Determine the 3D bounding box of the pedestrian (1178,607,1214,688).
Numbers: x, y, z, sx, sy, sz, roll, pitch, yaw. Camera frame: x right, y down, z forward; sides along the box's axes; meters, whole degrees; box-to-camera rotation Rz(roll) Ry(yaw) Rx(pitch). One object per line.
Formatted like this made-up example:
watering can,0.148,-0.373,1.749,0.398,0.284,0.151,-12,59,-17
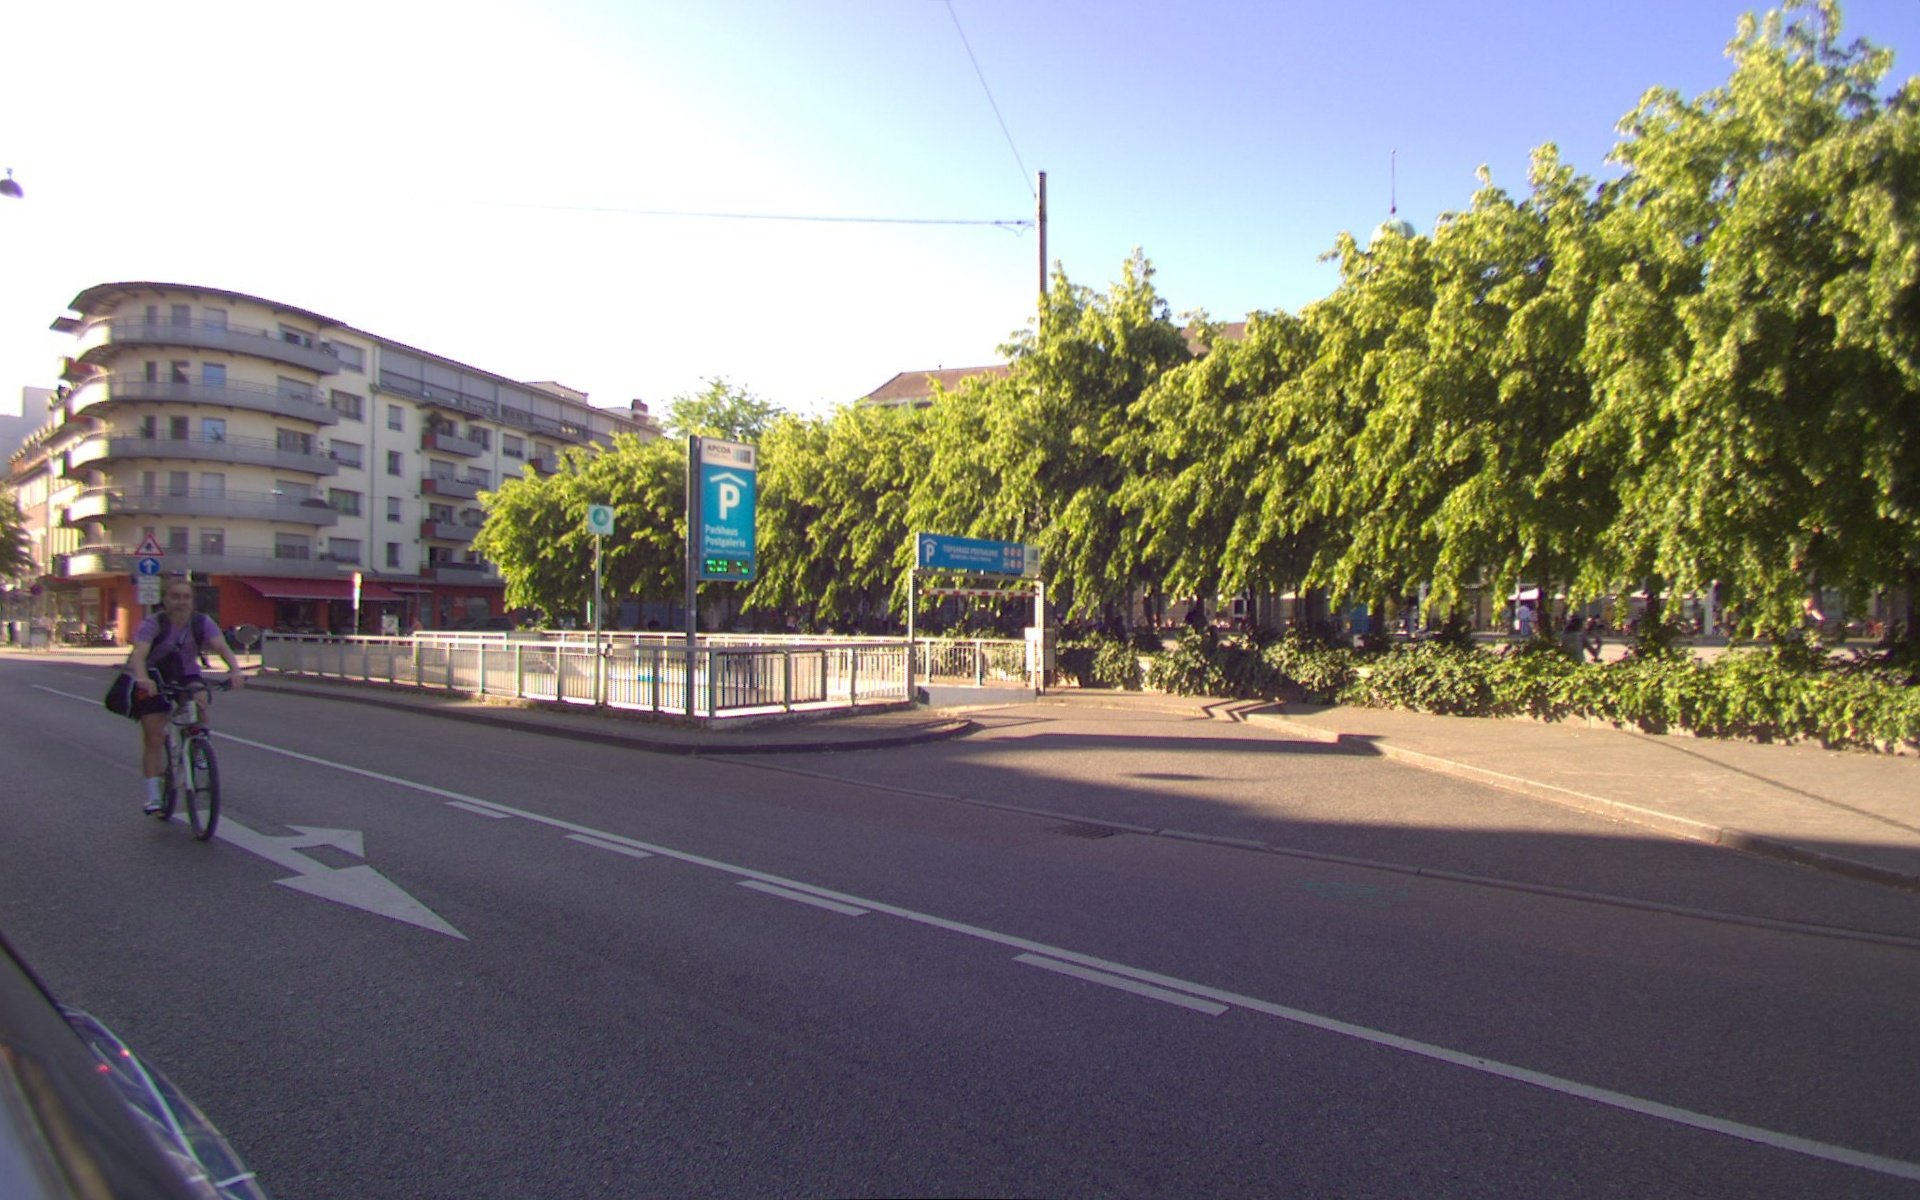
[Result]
pedestrian,5.560,1.102,23.794,0.674,1.870,0.577,-1,-1,30

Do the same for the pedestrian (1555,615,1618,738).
pedestrian,9.872,1.180,15.953,0.732,1.870,0.574,-1,-1,44

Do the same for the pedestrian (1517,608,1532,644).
pedestrian,28.520,1.323,51.146,0.598,1.806,0.577,-1,-1,27

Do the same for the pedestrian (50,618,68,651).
pedestrian,-46.394,1.769,52.095,0.792,1.634,0.563,-1,-1,37

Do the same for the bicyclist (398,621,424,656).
bicyclist,-26.468,1.851,48.804,0.960,1.627,0.715,0,0,-10

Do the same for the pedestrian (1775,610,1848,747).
pedestrian,11.962,1.078,14.230,0.597,1.870,0.578,-1,-1,22

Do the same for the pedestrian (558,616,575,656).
pedestrian,-18.398,1.674,47.308,0.574,1.806,0.602,0,0,-5

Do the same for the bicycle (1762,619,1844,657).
bicycle,24.109,1.065,28.990,0.496,1.024,2.061,-1,0,-3

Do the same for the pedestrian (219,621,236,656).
pedestrian,-36.808,1.923,50.854,0.642,1.721,0.568,-2,-2,43

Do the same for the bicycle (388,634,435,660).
bicycle,-26.439,2.269,48.804,1.844,1.221,0.714,-1,0,-6

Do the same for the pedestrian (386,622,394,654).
pedestrian,-29.819,1.998,52.952,0.318,1.680,0.362,0,-1,-17

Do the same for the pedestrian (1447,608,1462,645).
pedestrian,24.327,1.315,49.822,0.599,1.806,0.576,-1,-1,31

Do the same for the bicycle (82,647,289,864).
bicycle,-5.322,0.965,6.917,1.773,1.242,0.788,-1,-1,41

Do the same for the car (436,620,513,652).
car,-30.384,2.231,63.477,1.938,1.927,4.403,-1,-1,16

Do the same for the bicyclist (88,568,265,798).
bicyclist,-5.426,0.532,7.005,1.007,1.445,0.788,-1,-1,41

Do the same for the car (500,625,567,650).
car,-28.883,2.509,68.617,1.938,1.633,4.272,-1,-1,16

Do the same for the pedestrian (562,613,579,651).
pedestrian,-18.484,1.514,48.044,0.574,1.806,0.601,-1,0,0

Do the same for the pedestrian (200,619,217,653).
pedestrian,-37.741,1.801,50.827,0.642,1.721,0.568,-2,-2,43

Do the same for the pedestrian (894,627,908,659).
pedestrian,-3.407,2.477,58.234,0.578,1.806,0.597,-1,0,20

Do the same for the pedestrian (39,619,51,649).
pedestrian,-46.812,1.736,51.795,0.515,1.541,0.371,-1,-1,37
